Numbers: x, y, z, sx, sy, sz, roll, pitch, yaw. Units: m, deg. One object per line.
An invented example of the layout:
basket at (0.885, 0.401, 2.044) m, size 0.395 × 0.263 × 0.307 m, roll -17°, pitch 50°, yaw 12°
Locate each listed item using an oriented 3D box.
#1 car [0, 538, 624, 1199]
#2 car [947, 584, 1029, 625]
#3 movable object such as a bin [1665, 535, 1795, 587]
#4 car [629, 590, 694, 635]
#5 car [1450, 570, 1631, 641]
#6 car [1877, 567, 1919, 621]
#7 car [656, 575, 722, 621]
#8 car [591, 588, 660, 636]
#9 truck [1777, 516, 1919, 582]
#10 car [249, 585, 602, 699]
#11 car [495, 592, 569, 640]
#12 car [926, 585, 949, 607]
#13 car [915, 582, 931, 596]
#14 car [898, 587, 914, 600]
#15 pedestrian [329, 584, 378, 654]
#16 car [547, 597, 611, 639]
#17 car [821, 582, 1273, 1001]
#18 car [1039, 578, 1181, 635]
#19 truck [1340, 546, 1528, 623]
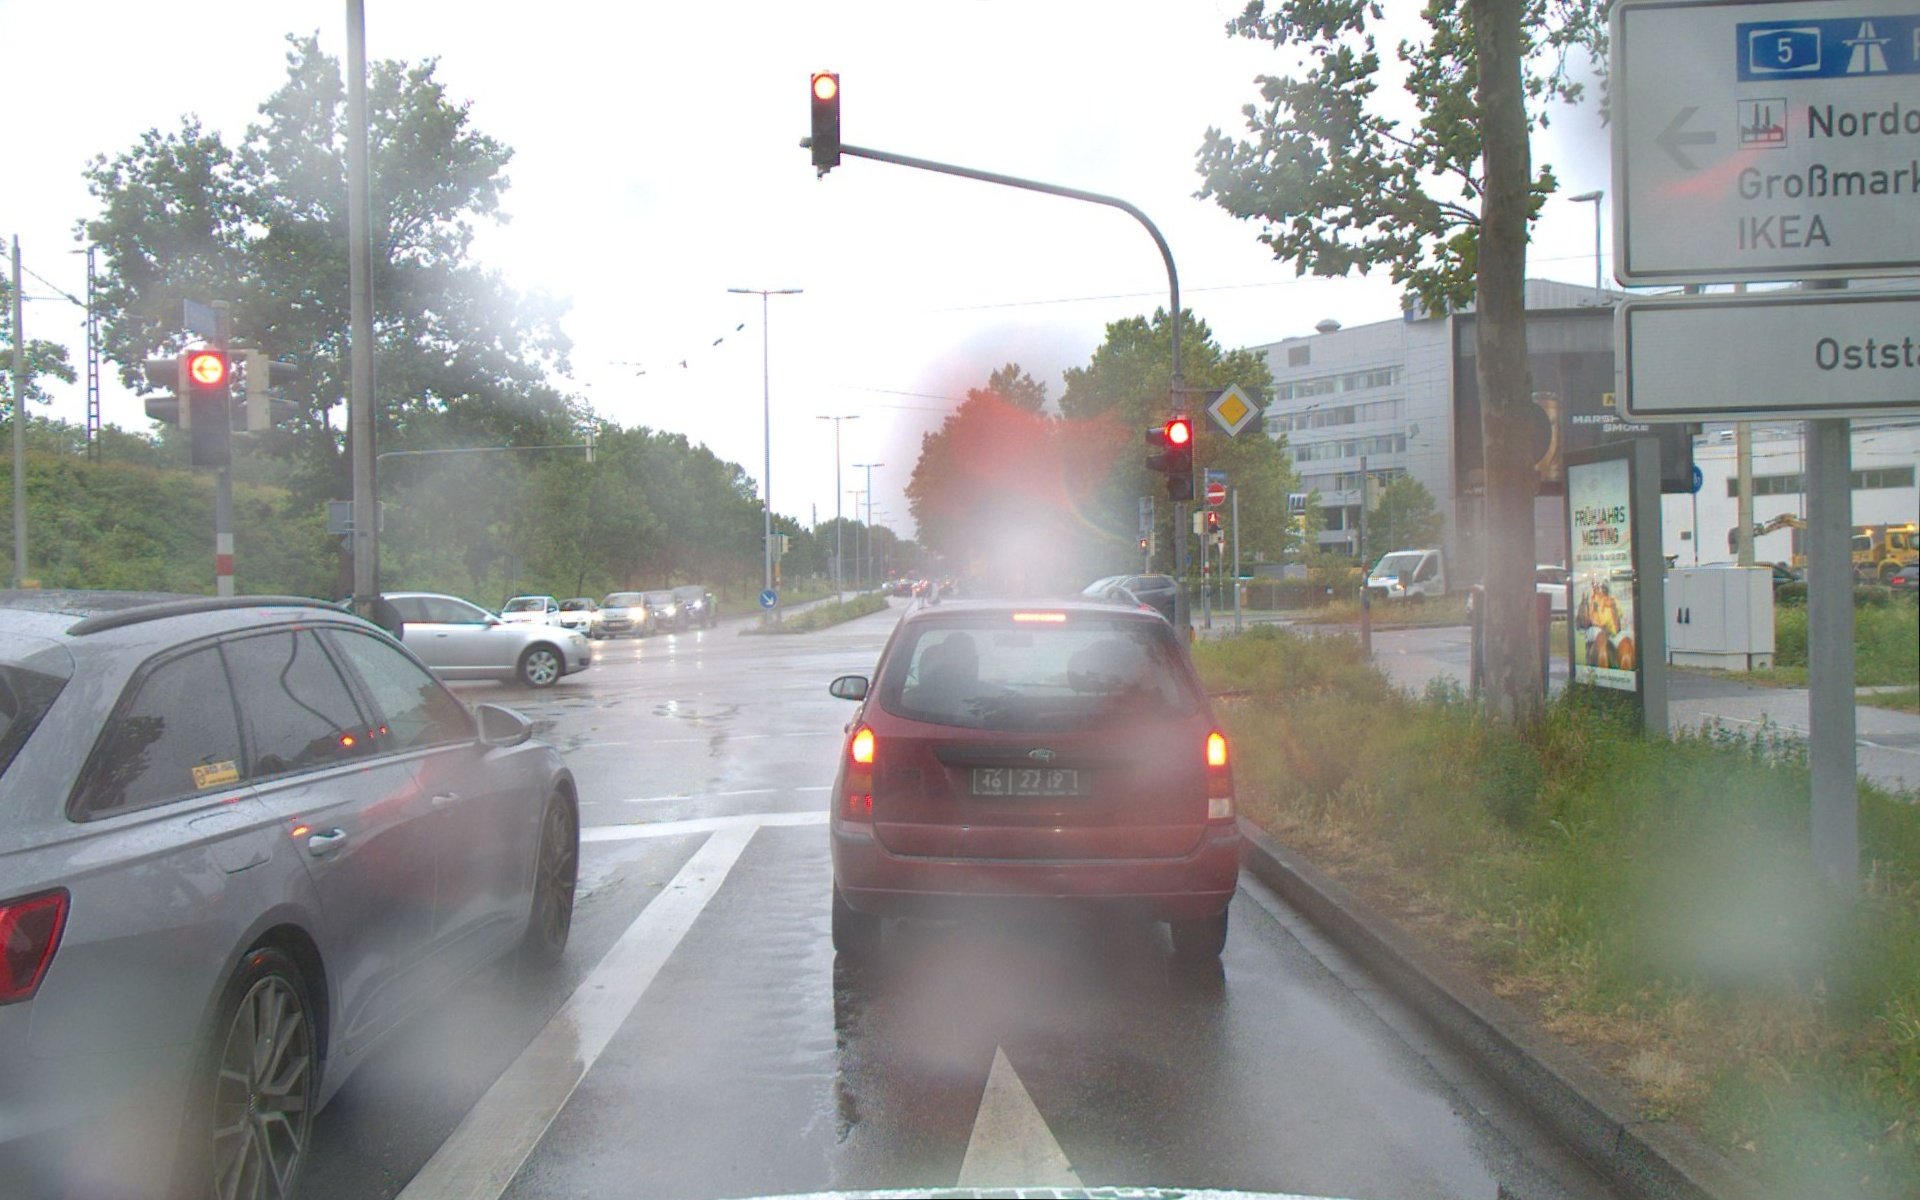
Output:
car at (-2.293, 0.670, 4.863) m, size 1.733 × 1.601 × 4.819 m, roll 1°, pitch 0°, yaw -2°
car at (1.279, 0.190, 76.613) m, size 1.974 × 1.822 × 3.956 m, roll 1°, pitch 0°, yaw -32°
movable object such as a bin at (48.353, -2.435, 103.979) m, size 3.292 × 3.048 × 6.634 m, roll -2°, pitch 0°, yaw -36°
car at (-11.346, 0.457, 63.064) m, size 1.727 × 1.614 × 4.811 m, roll -2°, pitch 0°, yaw -2°
car at (14.060, 0.121, 39.997) m, size 4.575 × 1.614 × 1.902 m, roll -1°, pitch 0°, yaw -37°
car at (30.655, -0.217, 51.612) m, size 4.576 × 1.614 × 1.902 m, roll -1°, pitch 0°, yaw -37°
car at (-11.622, -0.122, 71.211) m, size 2.024 × 1.851 × 5.539 m, roll -2°, pitch 1°, yaw -2°
car at (-11.281, 0.367, 55.977) m, size 1.605 × 1.499 × 3.964 m, roll -2°, pitch 1°, yaw -1°
truck at (52.806, -2.961, 97.367) m, size 3.292 × 3.568 × 7.789 m, roll -2°, pitch 0°, yaw -36°
car at (-7.993, 0.575, 24.888) m, size 4.766 × 1.517 × 1.907 m, roll -1°, pitch 0°, yaw -31°
car at (-14.159, 0.489, 54.890) m, size 1.605 × 1.478 × 3.785 m, roll -2°, pitch 1°, yaw -3°
car at (-1.681, -0.306, 126.050) m, size 1.636 × 1.554 × 3.846 m, roll -1°, pitch 0°, yaw 1°
car at (-4.190, -1.240, 189.576) m, size 1.663 × 1.554 × 3.846 m, roll -1°, pitch 0°, yaw 0°
car at (-6.486, -0.751, 199.843) m, size 1.663 × 1.554 × 3.846 m, roll -1°, pitch 0°, yaw 1°
pedestrian at (-16.646, 0.505, 45.440) m, size 1.083 × 1.879 × 1.127 m, roll -1°, pitch 0°, yaw -13°
car at (-14.060, 0.630, 61.217) m, size 1.558 × 1.428 × 3.822 m, roll -2°, pitch 1°, yaw -2°
car at (0.262, 0.675, 7.815) m, size 1.609 × 1.490 × 3.731 m, roll 1°, pitch 0°, yaw -2°
car at (4.548, 0.170, 49.823) m, size 4.202 × 1.586 × 1.723 m, roll -1°, pitch 0°, yaw -38°
truck at (15.806, -0.553, 54.923) m, size 6.796 × 2.406 × 2.449 m, roll -1°, pitch 0°, yaw -38°
